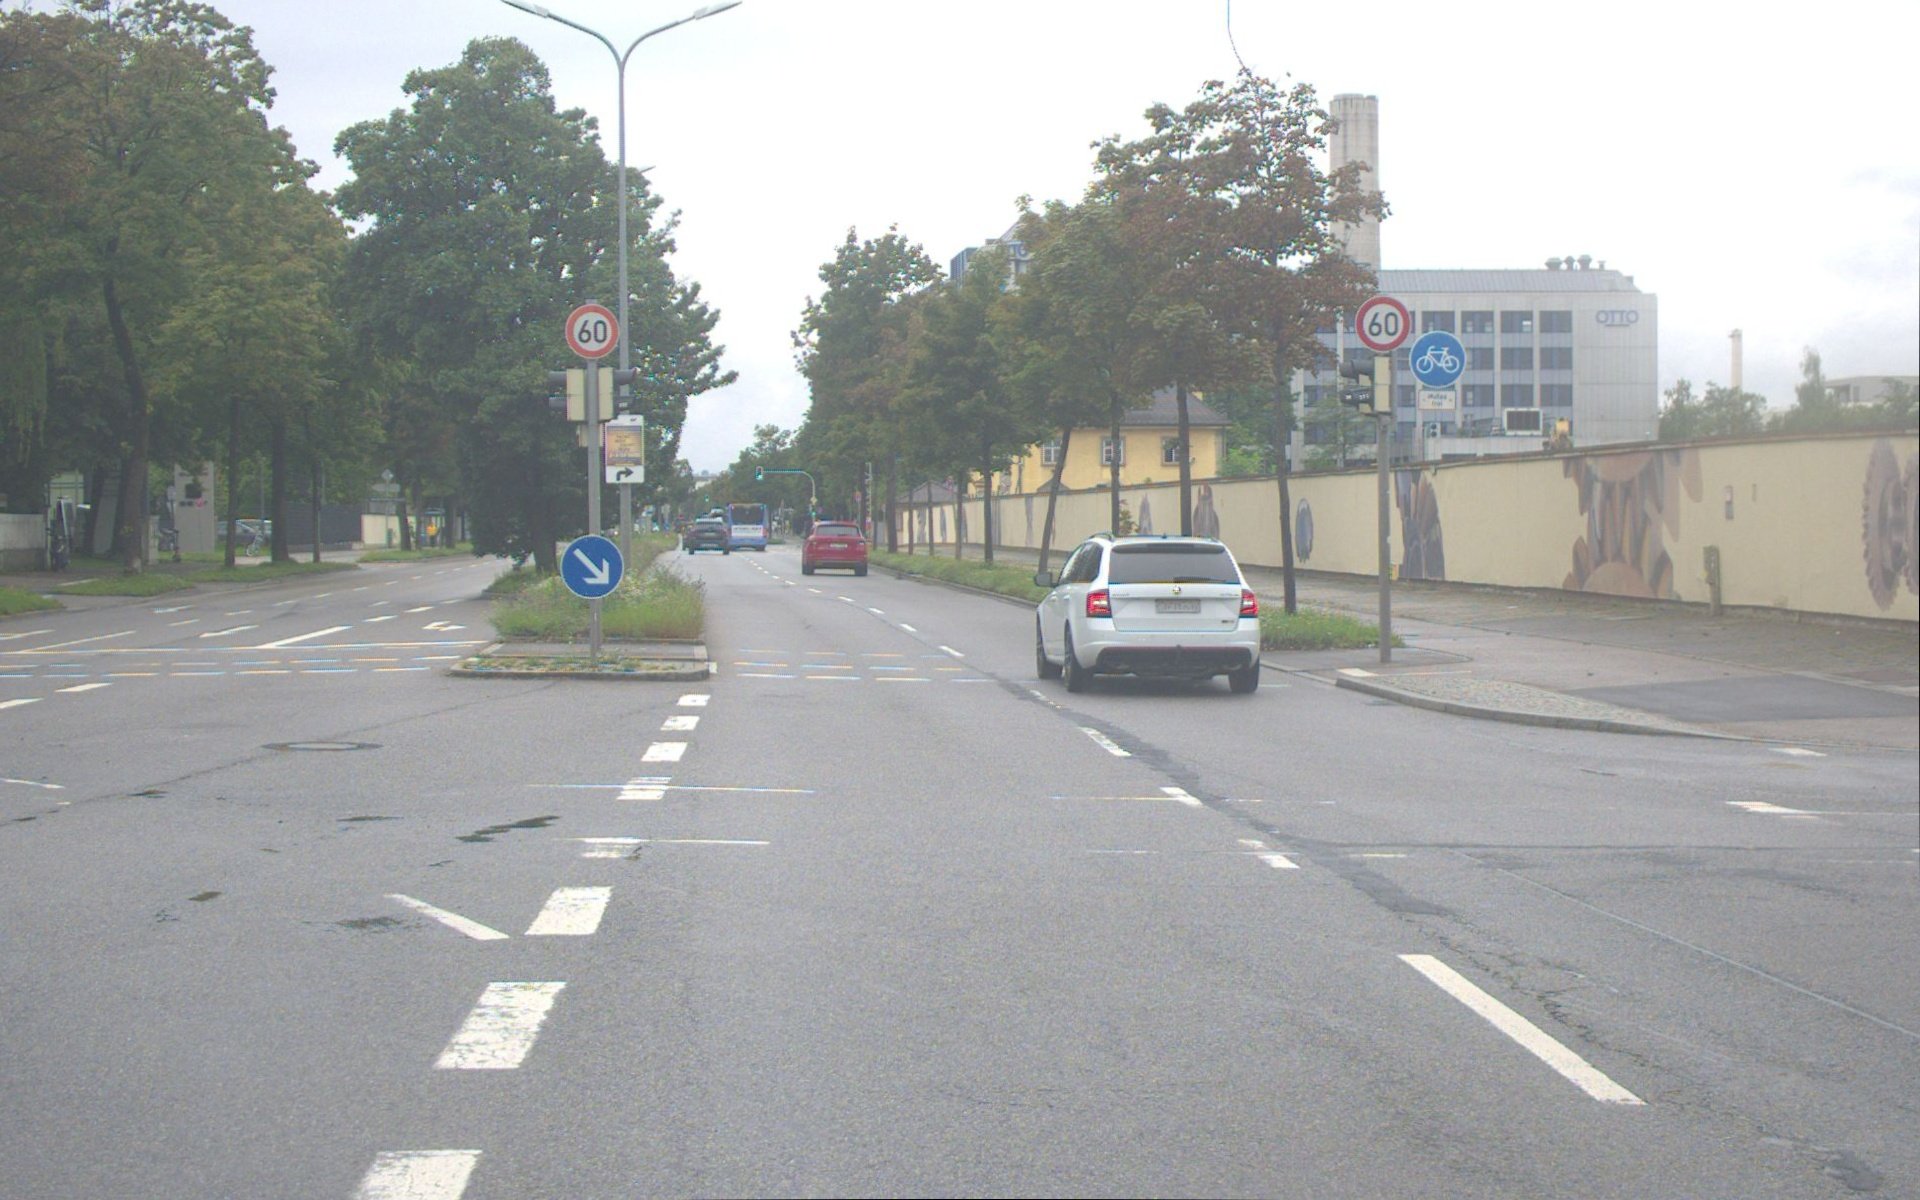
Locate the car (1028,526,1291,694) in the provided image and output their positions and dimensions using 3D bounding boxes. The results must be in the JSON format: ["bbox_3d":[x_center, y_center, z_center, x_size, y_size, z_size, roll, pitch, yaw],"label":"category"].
[{"bbox_3d":[1.816,0.042,32.729,1.877,1.463,4.503,1,1,-5],"label":"car"}]

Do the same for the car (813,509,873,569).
[{"bbox_3d":[-3.448,-1.793,100.916,1.484,1.710,3.552,1,1,-6],"label":"car"}]

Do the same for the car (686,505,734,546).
[{"bbox_3d":[-11.679,-3.471,160.278,2.084,1.859,4.387,1,1,-6],"label":"car"}]

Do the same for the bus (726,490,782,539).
[{"bbox_3d":[-13.713,-5.652,228.050,3.220,3.116,10.347,1,1,-6],"label":"bus"}]
